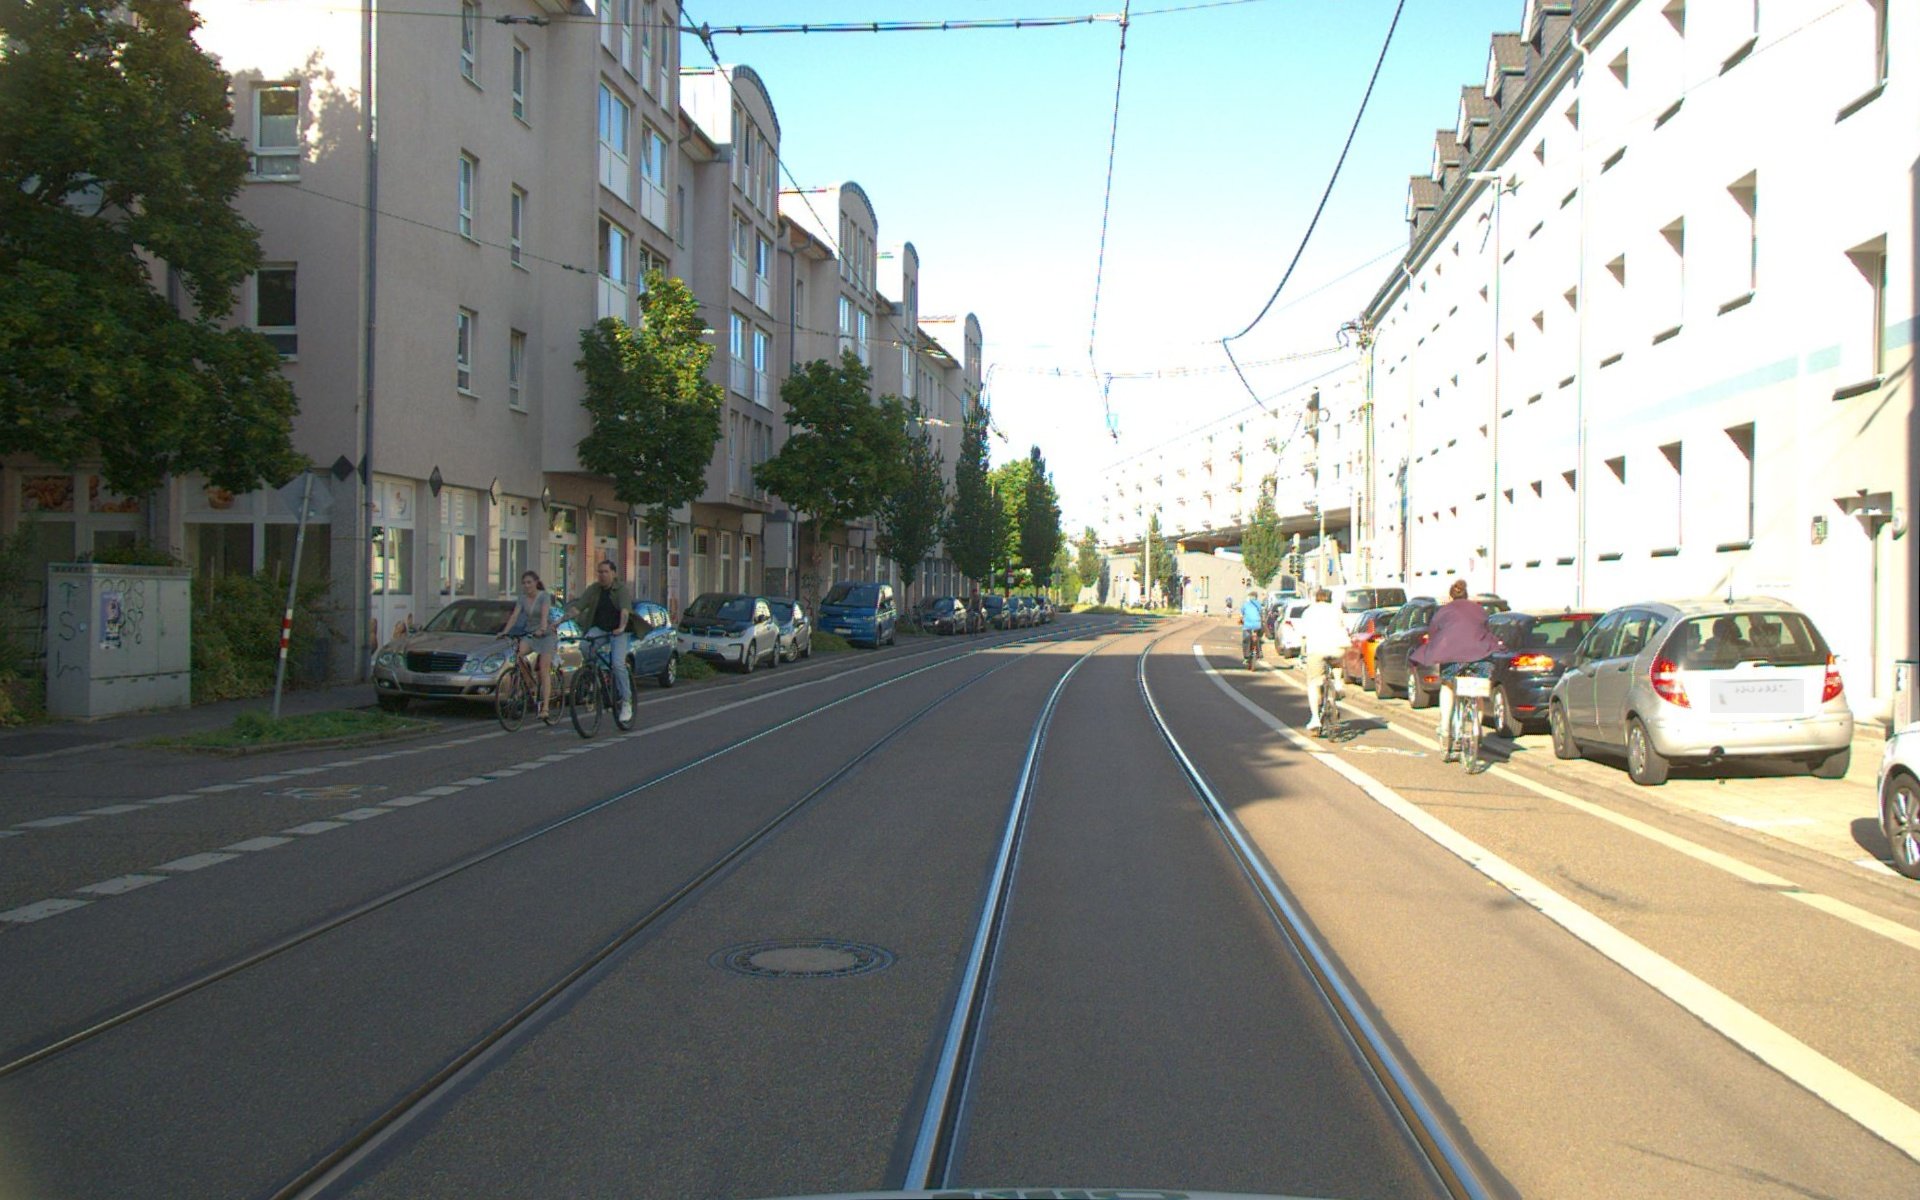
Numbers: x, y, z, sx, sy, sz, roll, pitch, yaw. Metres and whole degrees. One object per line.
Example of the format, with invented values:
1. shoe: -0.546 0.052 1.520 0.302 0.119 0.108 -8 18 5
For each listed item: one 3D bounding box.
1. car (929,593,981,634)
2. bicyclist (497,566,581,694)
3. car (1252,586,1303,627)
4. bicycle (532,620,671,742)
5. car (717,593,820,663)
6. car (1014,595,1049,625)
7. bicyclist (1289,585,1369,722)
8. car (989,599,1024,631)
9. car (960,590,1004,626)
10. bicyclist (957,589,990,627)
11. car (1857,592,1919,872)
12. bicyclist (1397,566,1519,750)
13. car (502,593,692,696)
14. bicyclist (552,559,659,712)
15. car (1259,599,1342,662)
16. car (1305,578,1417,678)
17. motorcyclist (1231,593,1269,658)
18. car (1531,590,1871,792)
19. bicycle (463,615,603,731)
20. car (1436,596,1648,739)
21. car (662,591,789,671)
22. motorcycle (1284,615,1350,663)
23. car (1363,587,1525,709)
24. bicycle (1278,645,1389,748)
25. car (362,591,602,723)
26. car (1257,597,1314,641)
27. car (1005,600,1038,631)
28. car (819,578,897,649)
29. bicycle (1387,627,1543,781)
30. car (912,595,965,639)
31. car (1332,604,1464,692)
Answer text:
1. car: -0.190 0.553 70.975 1.805 1.674 4.551 0 0 5
2. bicyclist: -4.843 0.333 19.087 0.610 1.404 0.868 -4 0 4
3. car: 14.407 0.278 75.231 1.805 1.787 4.551 0 0 5
4. bicycle: -3.874 0.842 18.076 0.821 1.169 2.234 -3 0 4
5. car: -4.634 0.647 40.556 1.791 1.621 4.002 0 0 4
6. car: 4.118 0.532 94.477 1.805 1.674 3.700 0 0 5
7. bicyclist: 4.158 0.584 18.678 0.712 1.487 1.021 0 0 3
8. car: 2.383 0.763 83.780 1.558 1.567 3.193 0 0 5
9. car: 1.095 0.366 79.962 1.805 1.674 4.551 0 0 5
10. bicyclist: 0.512 0.287 61.062 1.158 1.354 1.095 0 0 2
11. car: 6.210 0.753 7.903 1.644 1.598 4.512 -1 0 4
12. bicyclist: 4.773 0.538 15.904 0.915 1.705 0.970 1 0 3
13. car: -5.871 0.667 27.210 1.791 1.515 4.003 -2 0 7
14. bicyclist: -3.869 0.378 18.121 0.863 1.588 0.868 -3 0 4
15. car: 9.656 0.821 47.155 1.805 1.674 4.551 0 0 5
16. car: 8.579 0.562 35.705 1.749 2.005 4.157 -1 0 5
17. motorcyclist: 6.462 0.563 36.880 0.712 1.430 1.021 0 0 3
18. car: 6.831 0.753 15.715 1.717 1.598 3.906 -3 0 5
19. bicycle: -4.870 0.805 19.047 0.821 1.169 2.234 -4 0 4
20. car: 7.142 0.761 20.673 1.558 1.564 4.010 -2 0 6
21. car: -5.011 0.624 35.826 1.791 1.621 4.003 0 0 6
22. motorcycle: 8.878 0.961 41.233 0.486 1.164 1.749 1 0 -35
23. car: 7.523 0.694 26.054 1.625 1.699 3.906 -3 0 5
24. bicycle: 4.163 1.048 18.670 0.723 0.941 2.838 3 0 3
25. car: -6.183 0.676 21.877 1.708 1.468 4.002 4 1 4
26. car: 12.821 0.736 65.302 1.805 1.674 3.967 0 0 5
27. car: 3.295 0.813 87.944 1.558 1.567 3.193 0 0 5
28. car: -3.009 0.373 49.789 1.629 2.021 4.346 1 0 6
29. bicycle: 4.840 0.951 16.052 0.804 1.258 2.463 4 0 3
30. car: -0.825 0.656 65.274 1.629 1.646 4.003 1 0 6
31. car: 8.115 0.851 30.934 1.758 1.509 3.781 0 0 5
